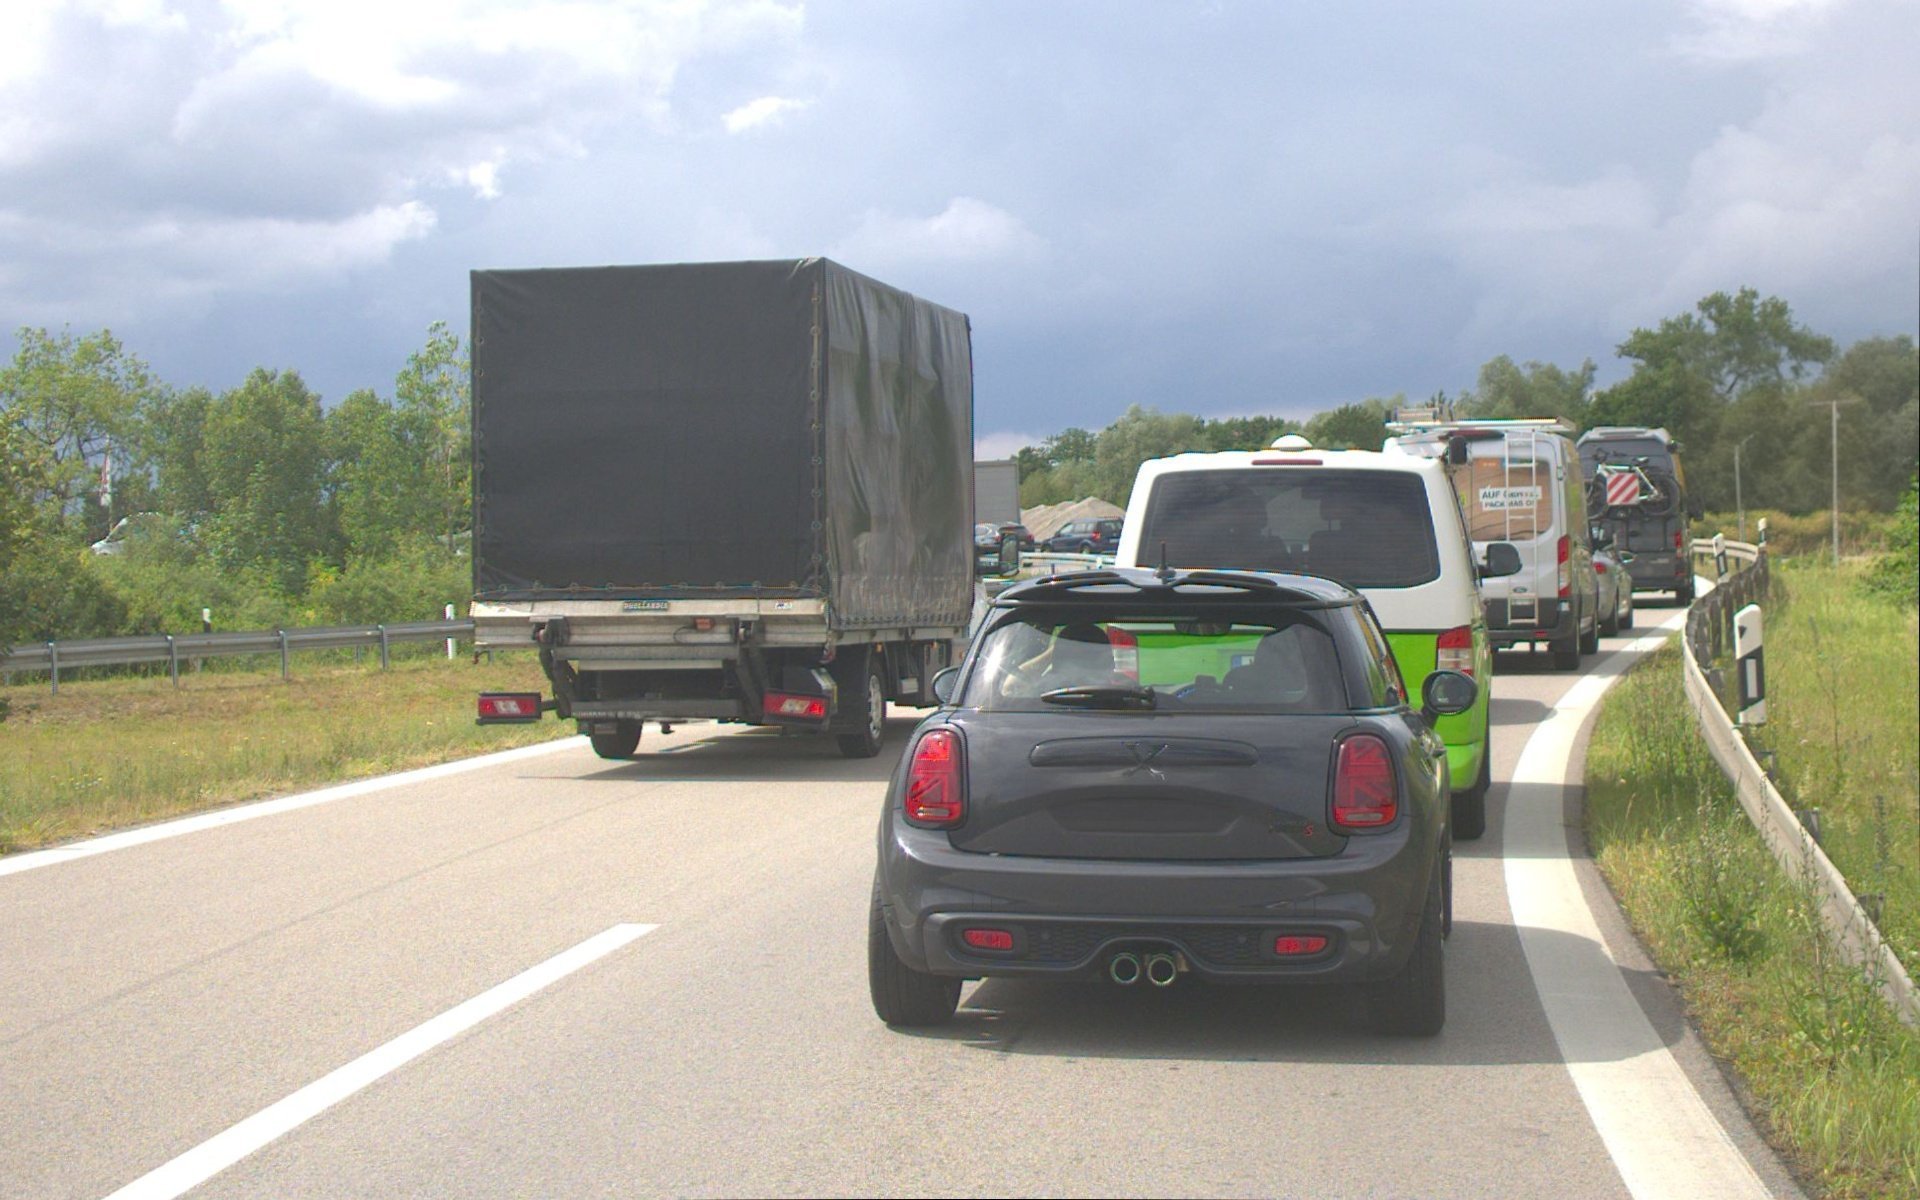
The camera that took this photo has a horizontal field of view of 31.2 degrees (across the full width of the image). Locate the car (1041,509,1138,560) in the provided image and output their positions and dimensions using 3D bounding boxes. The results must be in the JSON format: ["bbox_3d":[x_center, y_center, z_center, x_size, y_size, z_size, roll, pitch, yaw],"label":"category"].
[{"bbox_3d":[4.814,-2.441,128.452,1.921,1.831,4.318,1,0,-23],"label":"car"}]

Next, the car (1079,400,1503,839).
[{"bbox_3d":[1.866,0.064,18.175,1.912,2.038,4.179,0,1,10],"label":"car"}]

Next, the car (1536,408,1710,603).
[{"bbox_3d":[11.129,-1.503,57.348,2.312,3.058,6.657,1,0,15],"label":"car"}]

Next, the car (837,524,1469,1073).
[{"bbox_3d":[0.807,0.525,11.657,1.800,1.541,3.737,0,1,8],"label":"car"}]

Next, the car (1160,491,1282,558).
[{"bbox_3d":[9.113,-2.611,120.588,2.289,2.252,5.109,1,0,-21],"label":"car"}]

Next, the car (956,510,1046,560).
[{"bbox_3d":[1.483,-2.379,126.664,1.812,1.750,4.001,1,0,-23],"label":"car"}]

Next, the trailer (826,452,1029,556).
[{"bbox_3d":[-1.343,-3.701,134.706,3.037,3.884,8.769,1,0,-40],"label":"trailer"}]

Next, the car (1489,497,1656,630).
[{"bbox_3d":[8.061,-0.466,45.023,1.994,1.636,3.926,1,0,12],"label":"car"}]

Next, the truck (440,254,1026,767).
[{"bbox_3d":[-1.358,-0.583,25.051,2.561,3.157,7.465,1,0,10],"label":"truck"}]

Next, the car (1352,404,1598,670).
[{"bbox_3d":[5.590,-0.638,36.744,2.213,2.613,5.531,1,0,12],"label":"car"}]
